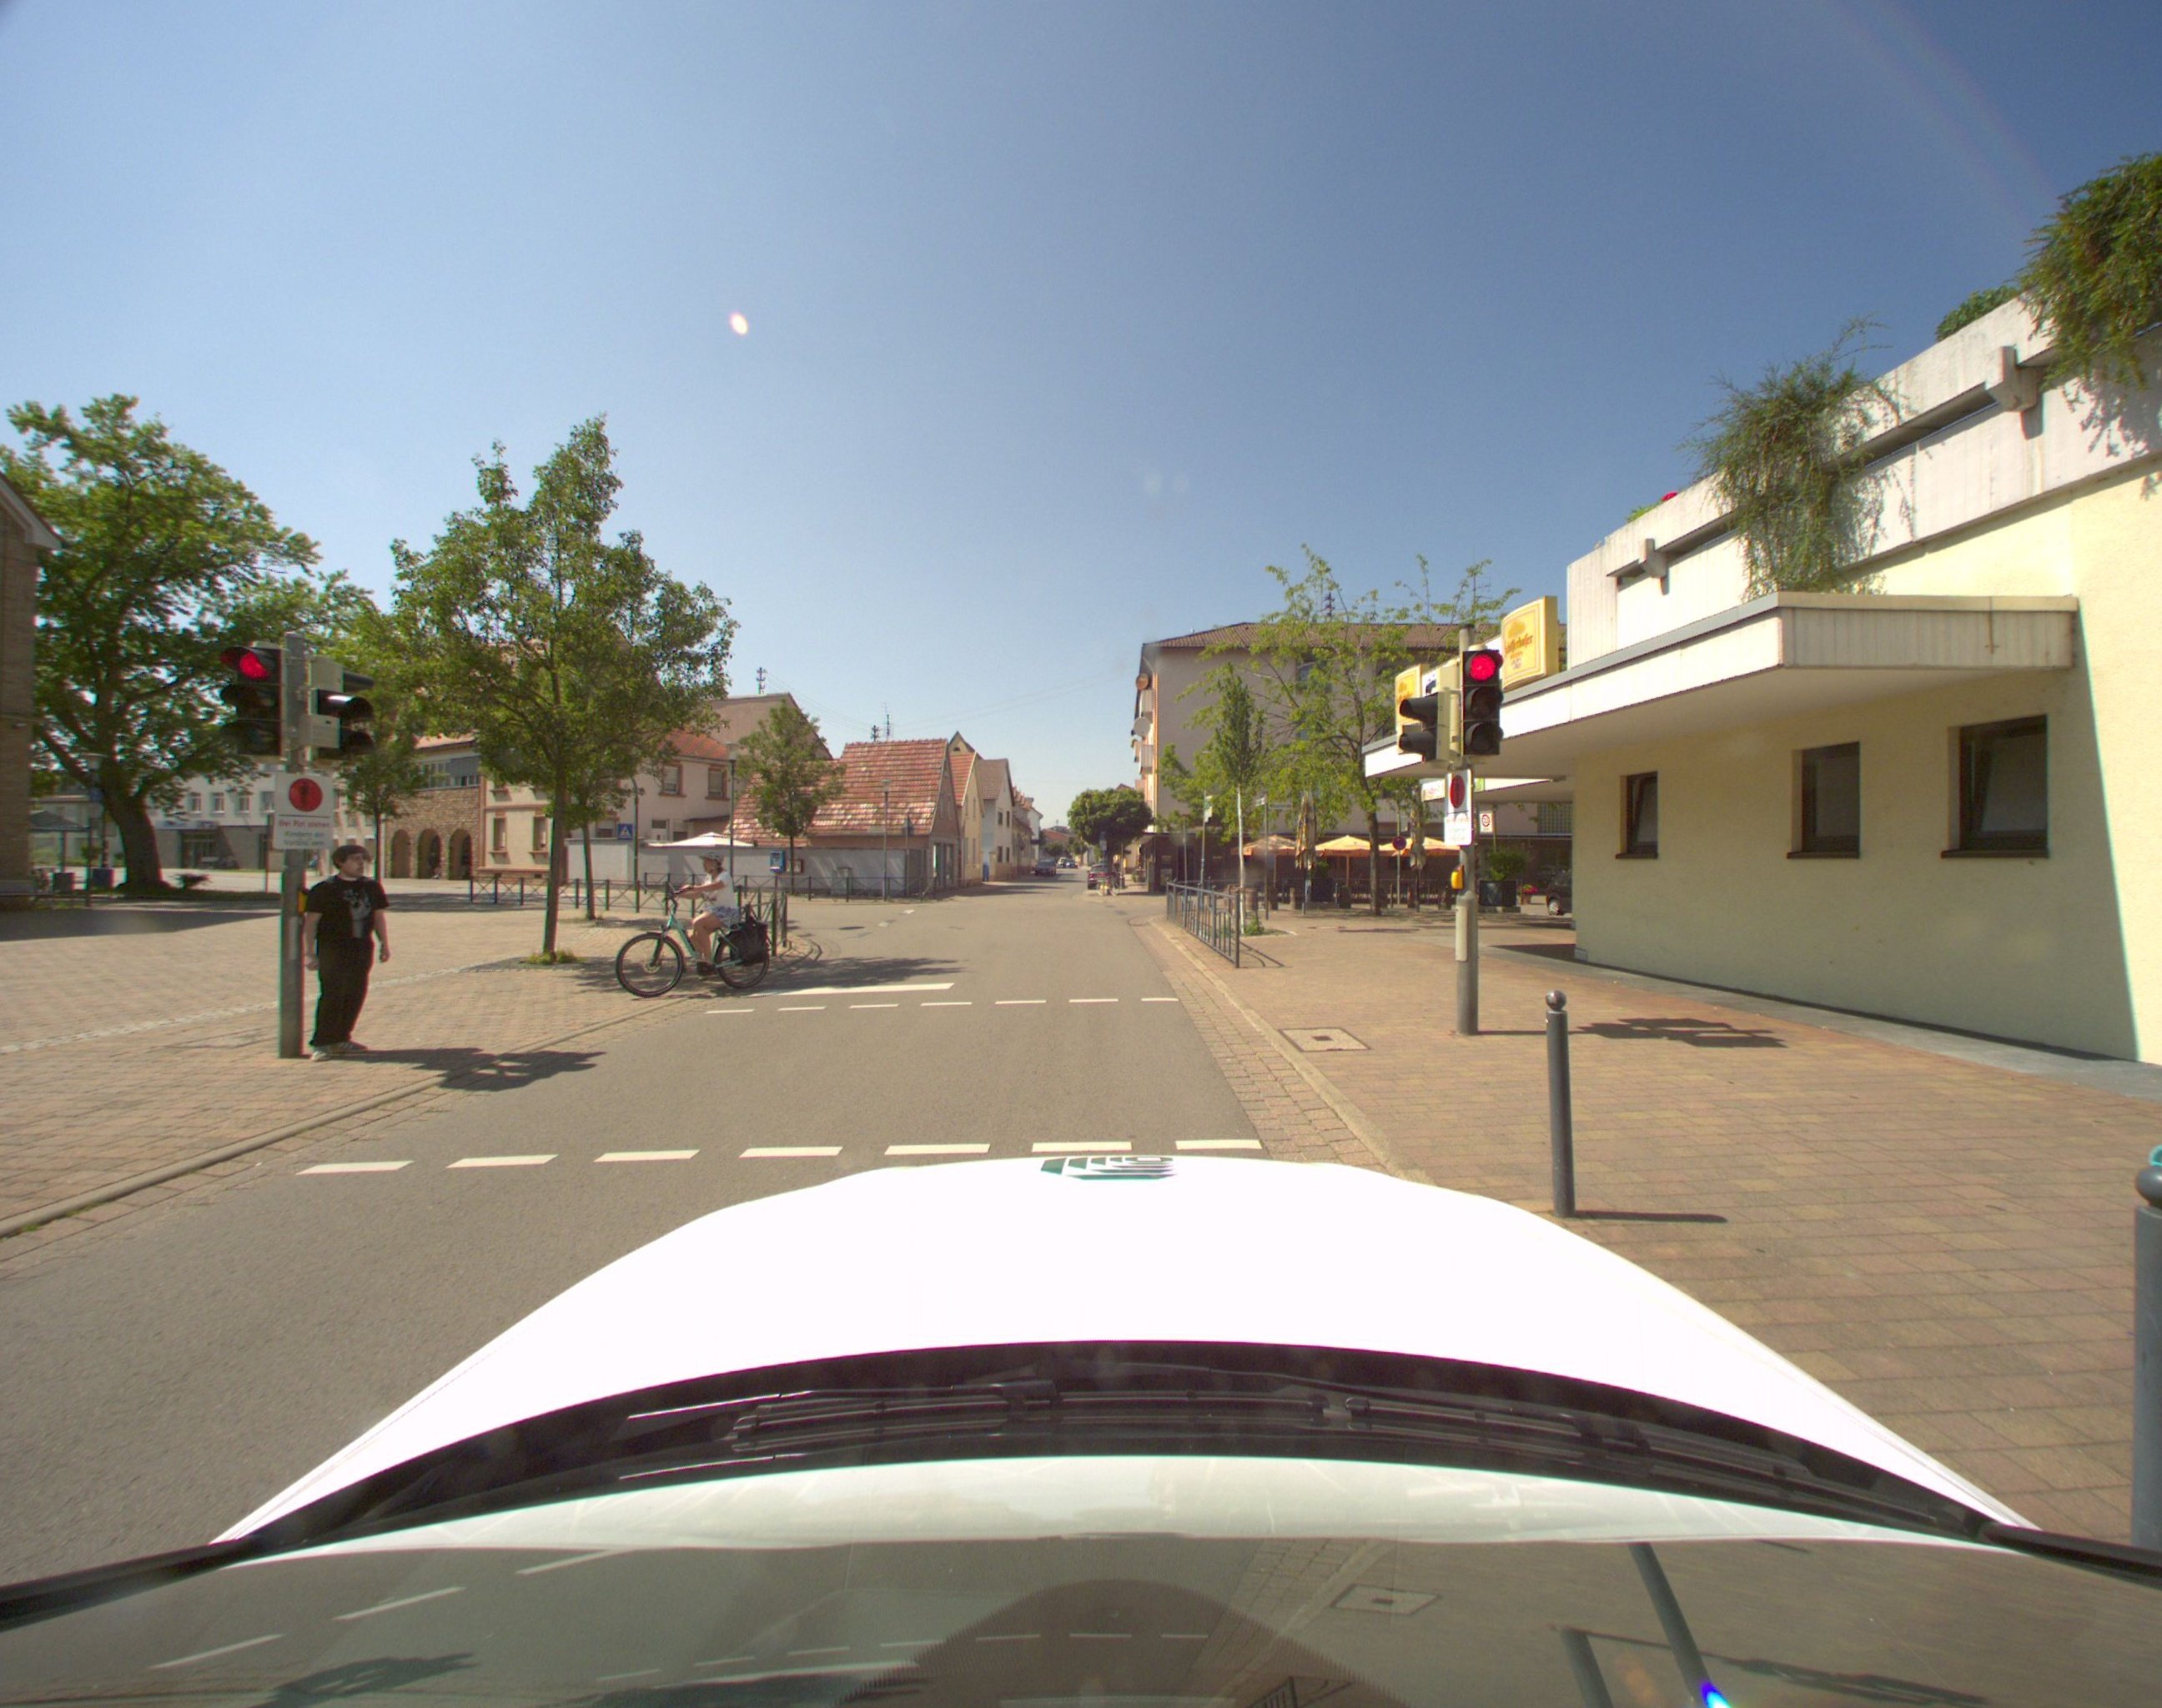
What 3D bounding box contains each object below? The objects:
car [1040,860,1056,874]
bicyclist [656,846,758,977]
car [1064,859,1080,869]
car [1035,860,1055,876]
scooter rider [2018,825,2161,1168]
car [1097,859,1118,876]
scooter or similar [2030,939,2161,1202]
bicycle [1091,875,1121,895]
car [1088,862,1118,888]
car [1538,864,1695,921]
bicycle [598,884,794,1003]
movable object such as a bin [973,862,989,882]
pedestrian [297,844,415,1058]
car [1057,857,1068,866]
[{"bbox_3d":[-3.457,1.324,85.010,1.659,1.476,3.448,0,-1,-2],"label":"car"},{"bbox_3d":[-4.535,0.668,9.901,0.707,1.506,0.876,-2,-2,35],"label":"bicyclist"},{"bbox_3d":[-1.450,1.596,126.498,1.907,1.481,4.831,0,-1,-7],"label":"car"},{"bbox_3d":[-3.439,1.302,78.451,1.657,1.476,4.135,0,-1,1],"label":"car"},{"bbox_3d":[4.393,0.547,3.055,0.460,1.325,1.134,0,-1,2],"label":"scooter rider"},{"bbox_3d":[2.662,1.320,81.171,2.035,1.689,4.843,0,-1,2],"label":"car"},{"bbox_3d":[4.364,0.856,3.097,0.409,0.965,0.961,0,-1,3],"label":"scooter or similar"},{"bbox_3d":[1.194,1.475,38.682,1.396,0.897,0.468,-2,0,38],"label":"bicycle"},{"bbox_3d":[1.300,1.189,47.313,1.569,1.454,3.489,0,-1,4],"label":"car"},{"bbox_3d":[15.245,1.054,23.467,1.763,1.510,3.965,1,-1,-4],"label":"car"},{"bbox_3d":[-4.558,0.997,9.785,0.702,1.252,1.984,1,-1,39],"label":"bicycle"},{"bbox_3d":[-7.015,1.256,57.101,1.096,1.366,0.390,0,-1,5],"label":"movable object such as a bin"},{"bbox_3d":[-5.854,0.744,6.584,0.543,1.619,0.561,-1,-2,35],"label":"pedestrian"},{"bbox_3d":[-3.612,1.438,157.780,2.022,1.598,4.504,0,-1,-3],"label":"car"}]
